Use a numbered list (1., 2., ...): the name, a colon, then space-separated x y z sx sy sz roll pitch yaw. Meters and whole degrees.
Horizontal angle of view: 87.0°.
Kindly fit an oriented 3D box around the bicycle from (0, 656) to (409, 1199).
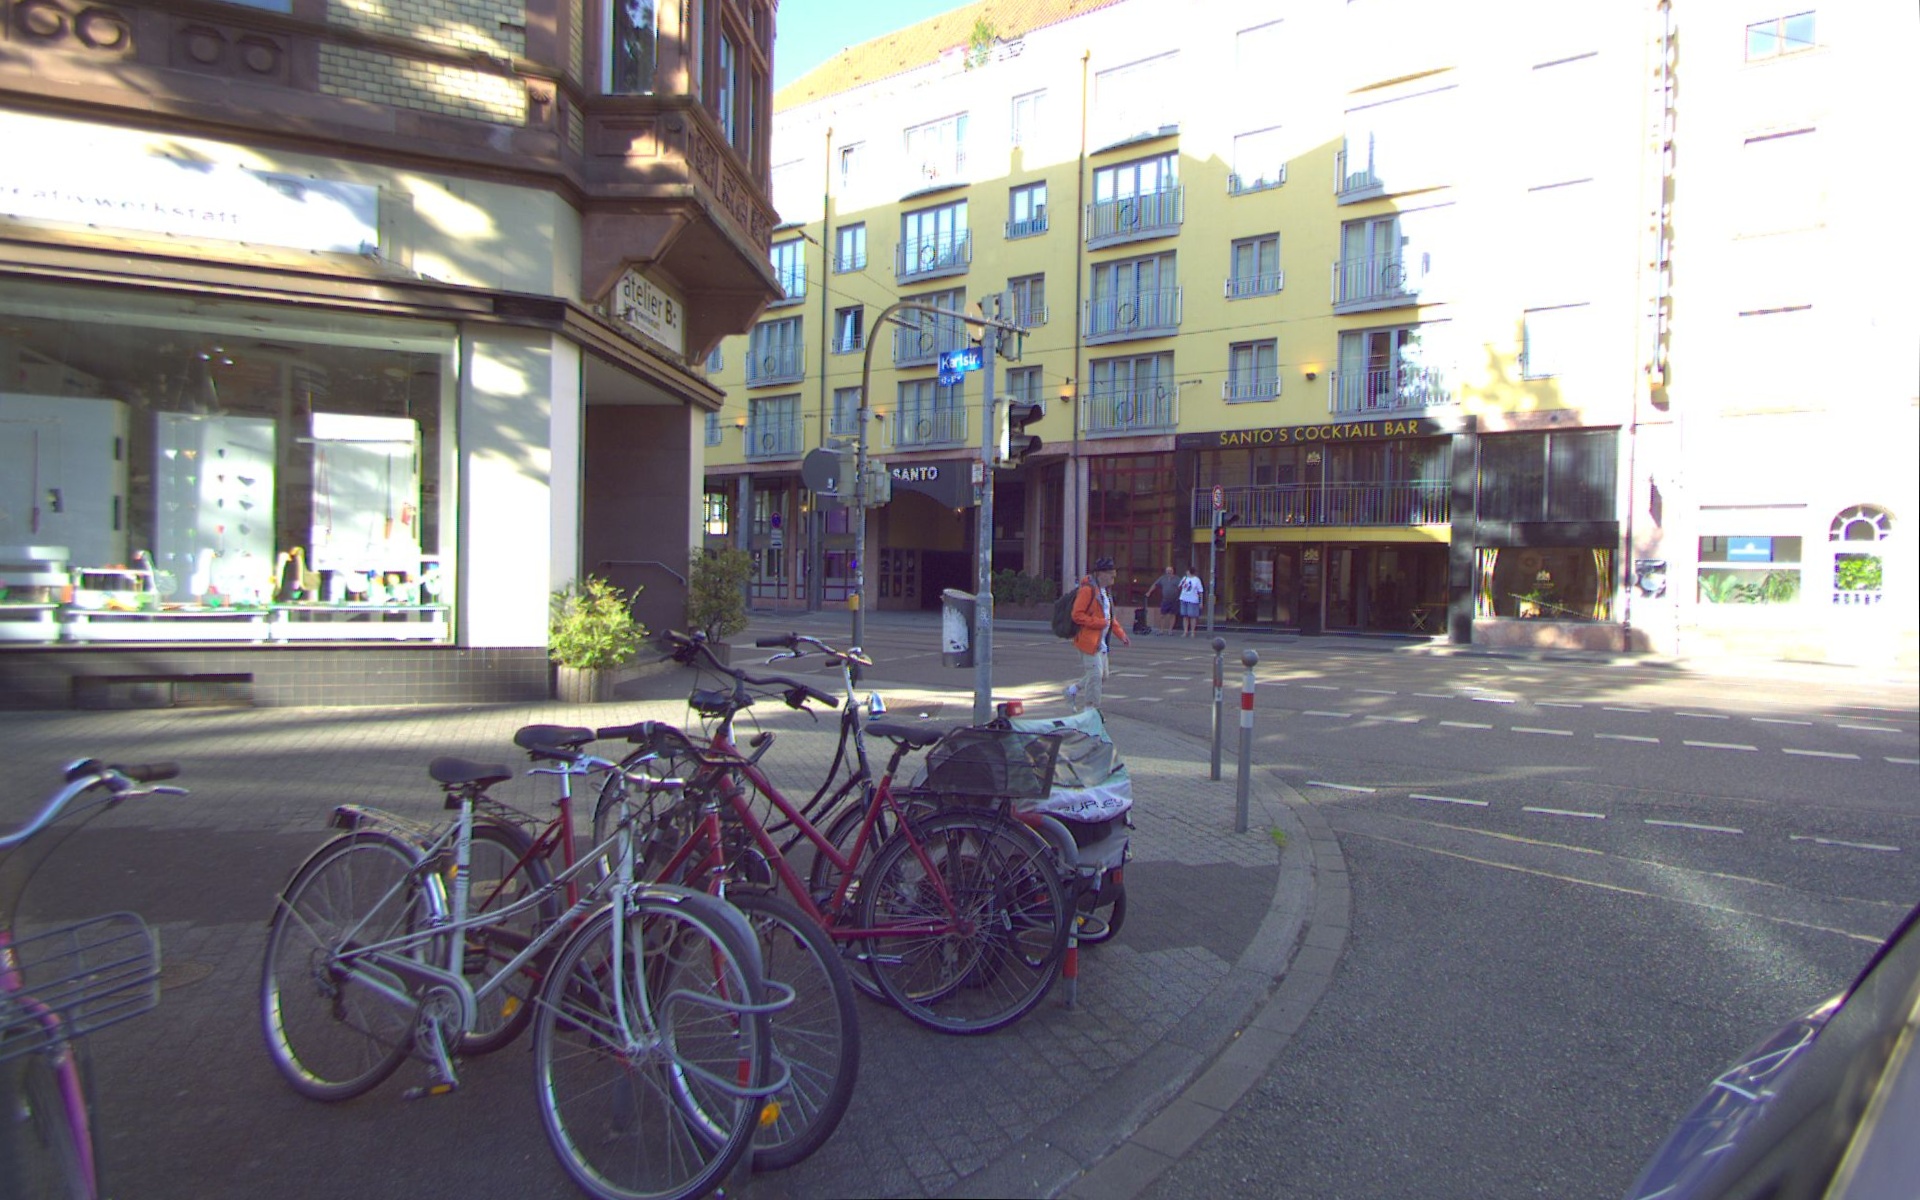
1. bicycle: -1.903 0.781 2.144 1.922 1.106 0.420 4 4 32

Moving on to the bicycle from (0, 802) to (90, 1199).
1. bicycle: -2.182 0.820 1.750 1.922 1.064 0.497 4 4 32

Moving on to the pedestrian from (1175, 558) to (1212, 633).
1. pedestrian: 5.950 -0.135 25.807 0.730 1.862 0.719 2 5 34

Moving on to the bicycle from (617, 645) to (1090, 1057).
1. bicycle: -0.332 0.758 3.291 1.453 1.106 0.424 2 4 9

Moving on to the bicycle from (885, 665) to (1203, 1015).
1. bicycle: 0.309 0.831 3.945 0.726 1.039 0.997 0 1 -43

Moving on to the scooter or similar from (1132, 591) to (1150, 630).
1. scooter or similar: 4.773 0.266 26.659 0.354 0.989 0.418 2 4 32

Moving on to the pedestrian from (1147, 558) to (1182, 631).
1. pedestrian: 5.379 -0.168 26.582 0.674 1.862 0.719 2 5 34

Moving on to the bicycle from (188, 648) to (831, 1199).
1. bicycle: -1.227 0.774 2.542 1.921 1.106 0.421 4 4 30

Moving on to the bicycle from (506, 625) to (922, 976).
1. bicycle: -0.930 0.712 3.921 1.454 1.106 0.573 2 4 11

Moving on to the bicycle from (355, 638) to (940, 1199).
1. bicycle: -0.998 0.758 2.932 1.921 1.106 0.421 4 4 30

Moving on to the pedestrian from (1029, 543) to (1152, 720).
1. pedestrian: 1.335 0.287 10.390 1.154 1.701 1.005 1 1 8
